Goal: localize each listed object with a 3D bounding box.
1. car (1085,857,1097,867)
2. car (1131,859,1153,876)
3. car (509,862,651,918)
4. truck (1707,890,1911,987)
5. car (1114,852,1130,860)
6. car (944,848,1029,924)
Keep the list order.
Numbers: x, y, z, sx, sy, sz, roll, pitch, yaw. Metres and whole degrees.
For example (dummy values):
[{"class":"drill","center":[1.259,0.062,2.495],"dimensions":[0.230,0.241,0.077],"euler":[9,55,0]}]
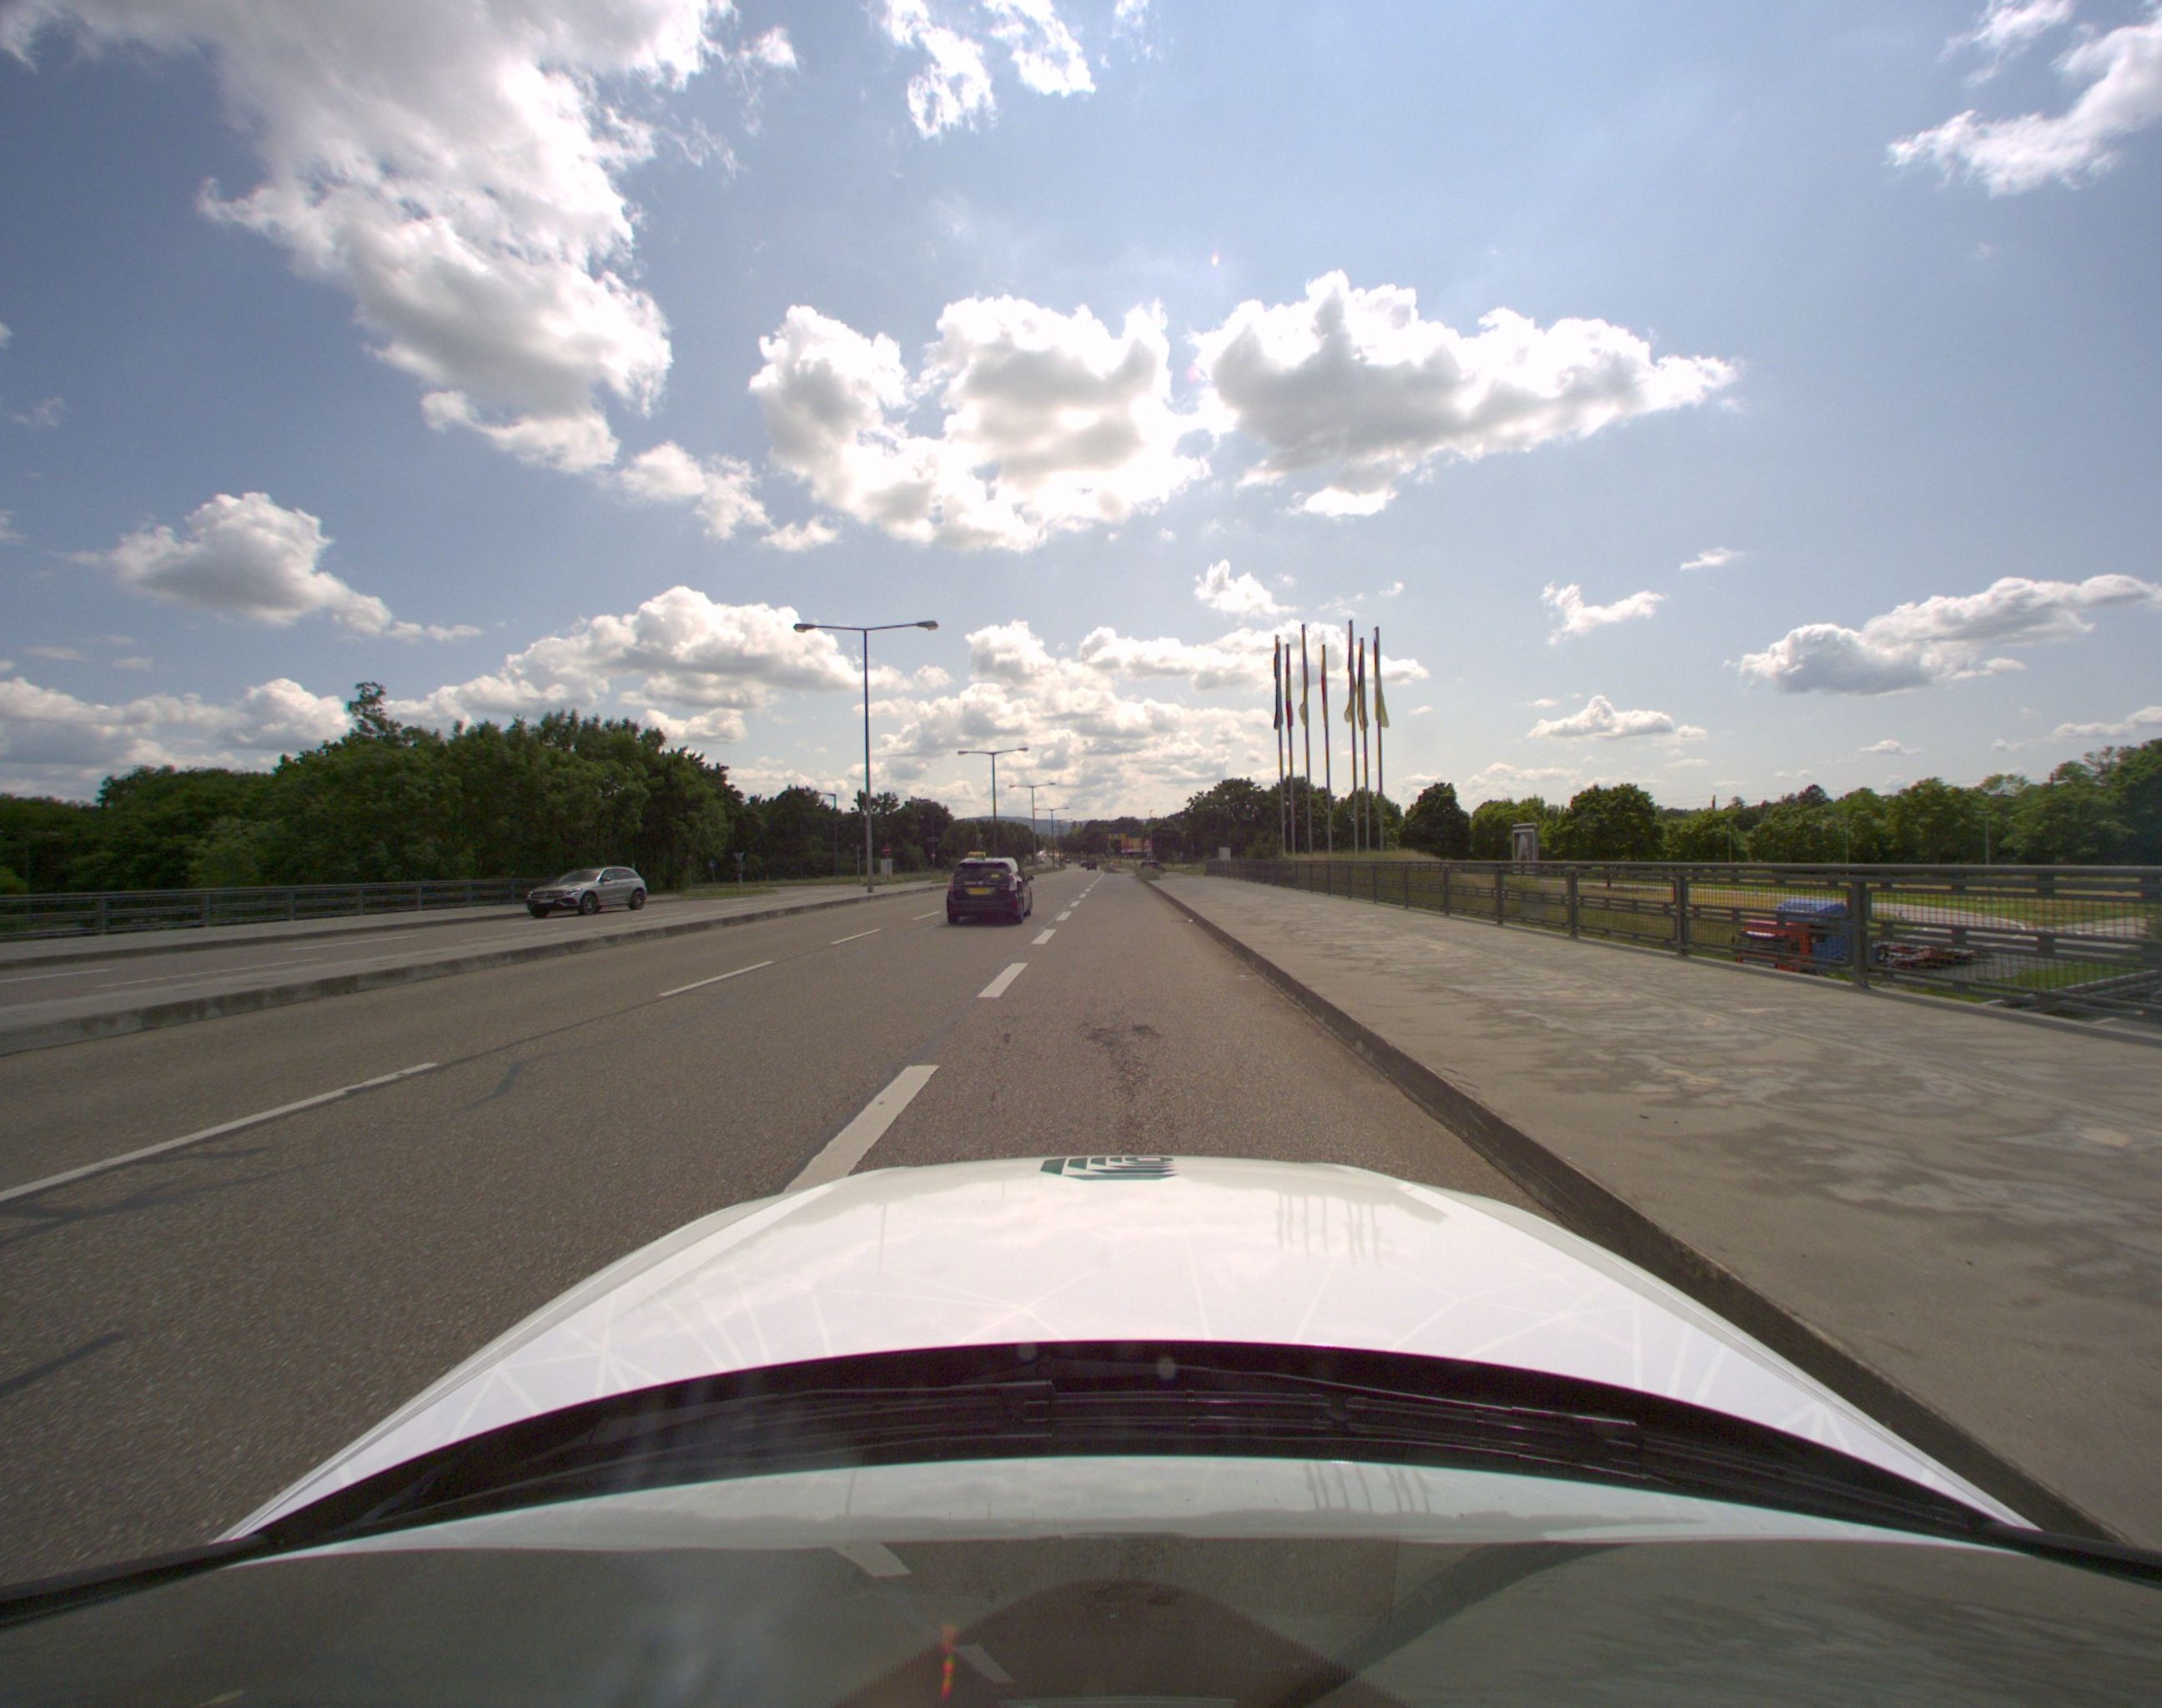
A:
[{"class":"car","center":[1.671,1.416,141.911],"dimensions":[1.988,1.662,3.998],"euler":[0,1,-2]},{"class":"car","center":[6.508,1.428,87.332],"dimensions":[1.988,1.662,3.998],"euler":[0,1,-2]},{"class":"car","center":[-17.477,1.192,28.731],"dimensions":[2.081,1.626,4.550],"euler":[-3,1,0]},{"class":"truck","center":[38.828,4.316,43.469],"dimensions":[9.630,4.403,3.992],"euler":[0,0,-19]},{"class":"car","center":[8.841,0.449,174.737],"dimensions":[2.001,1.662,3.973],"euler":[0,1,-21]},{"class":"car","center":[-2.260,0.707,20.404],"dimensions":[1.775,1.684,3.997],"euler":[0,1,-2]}]
